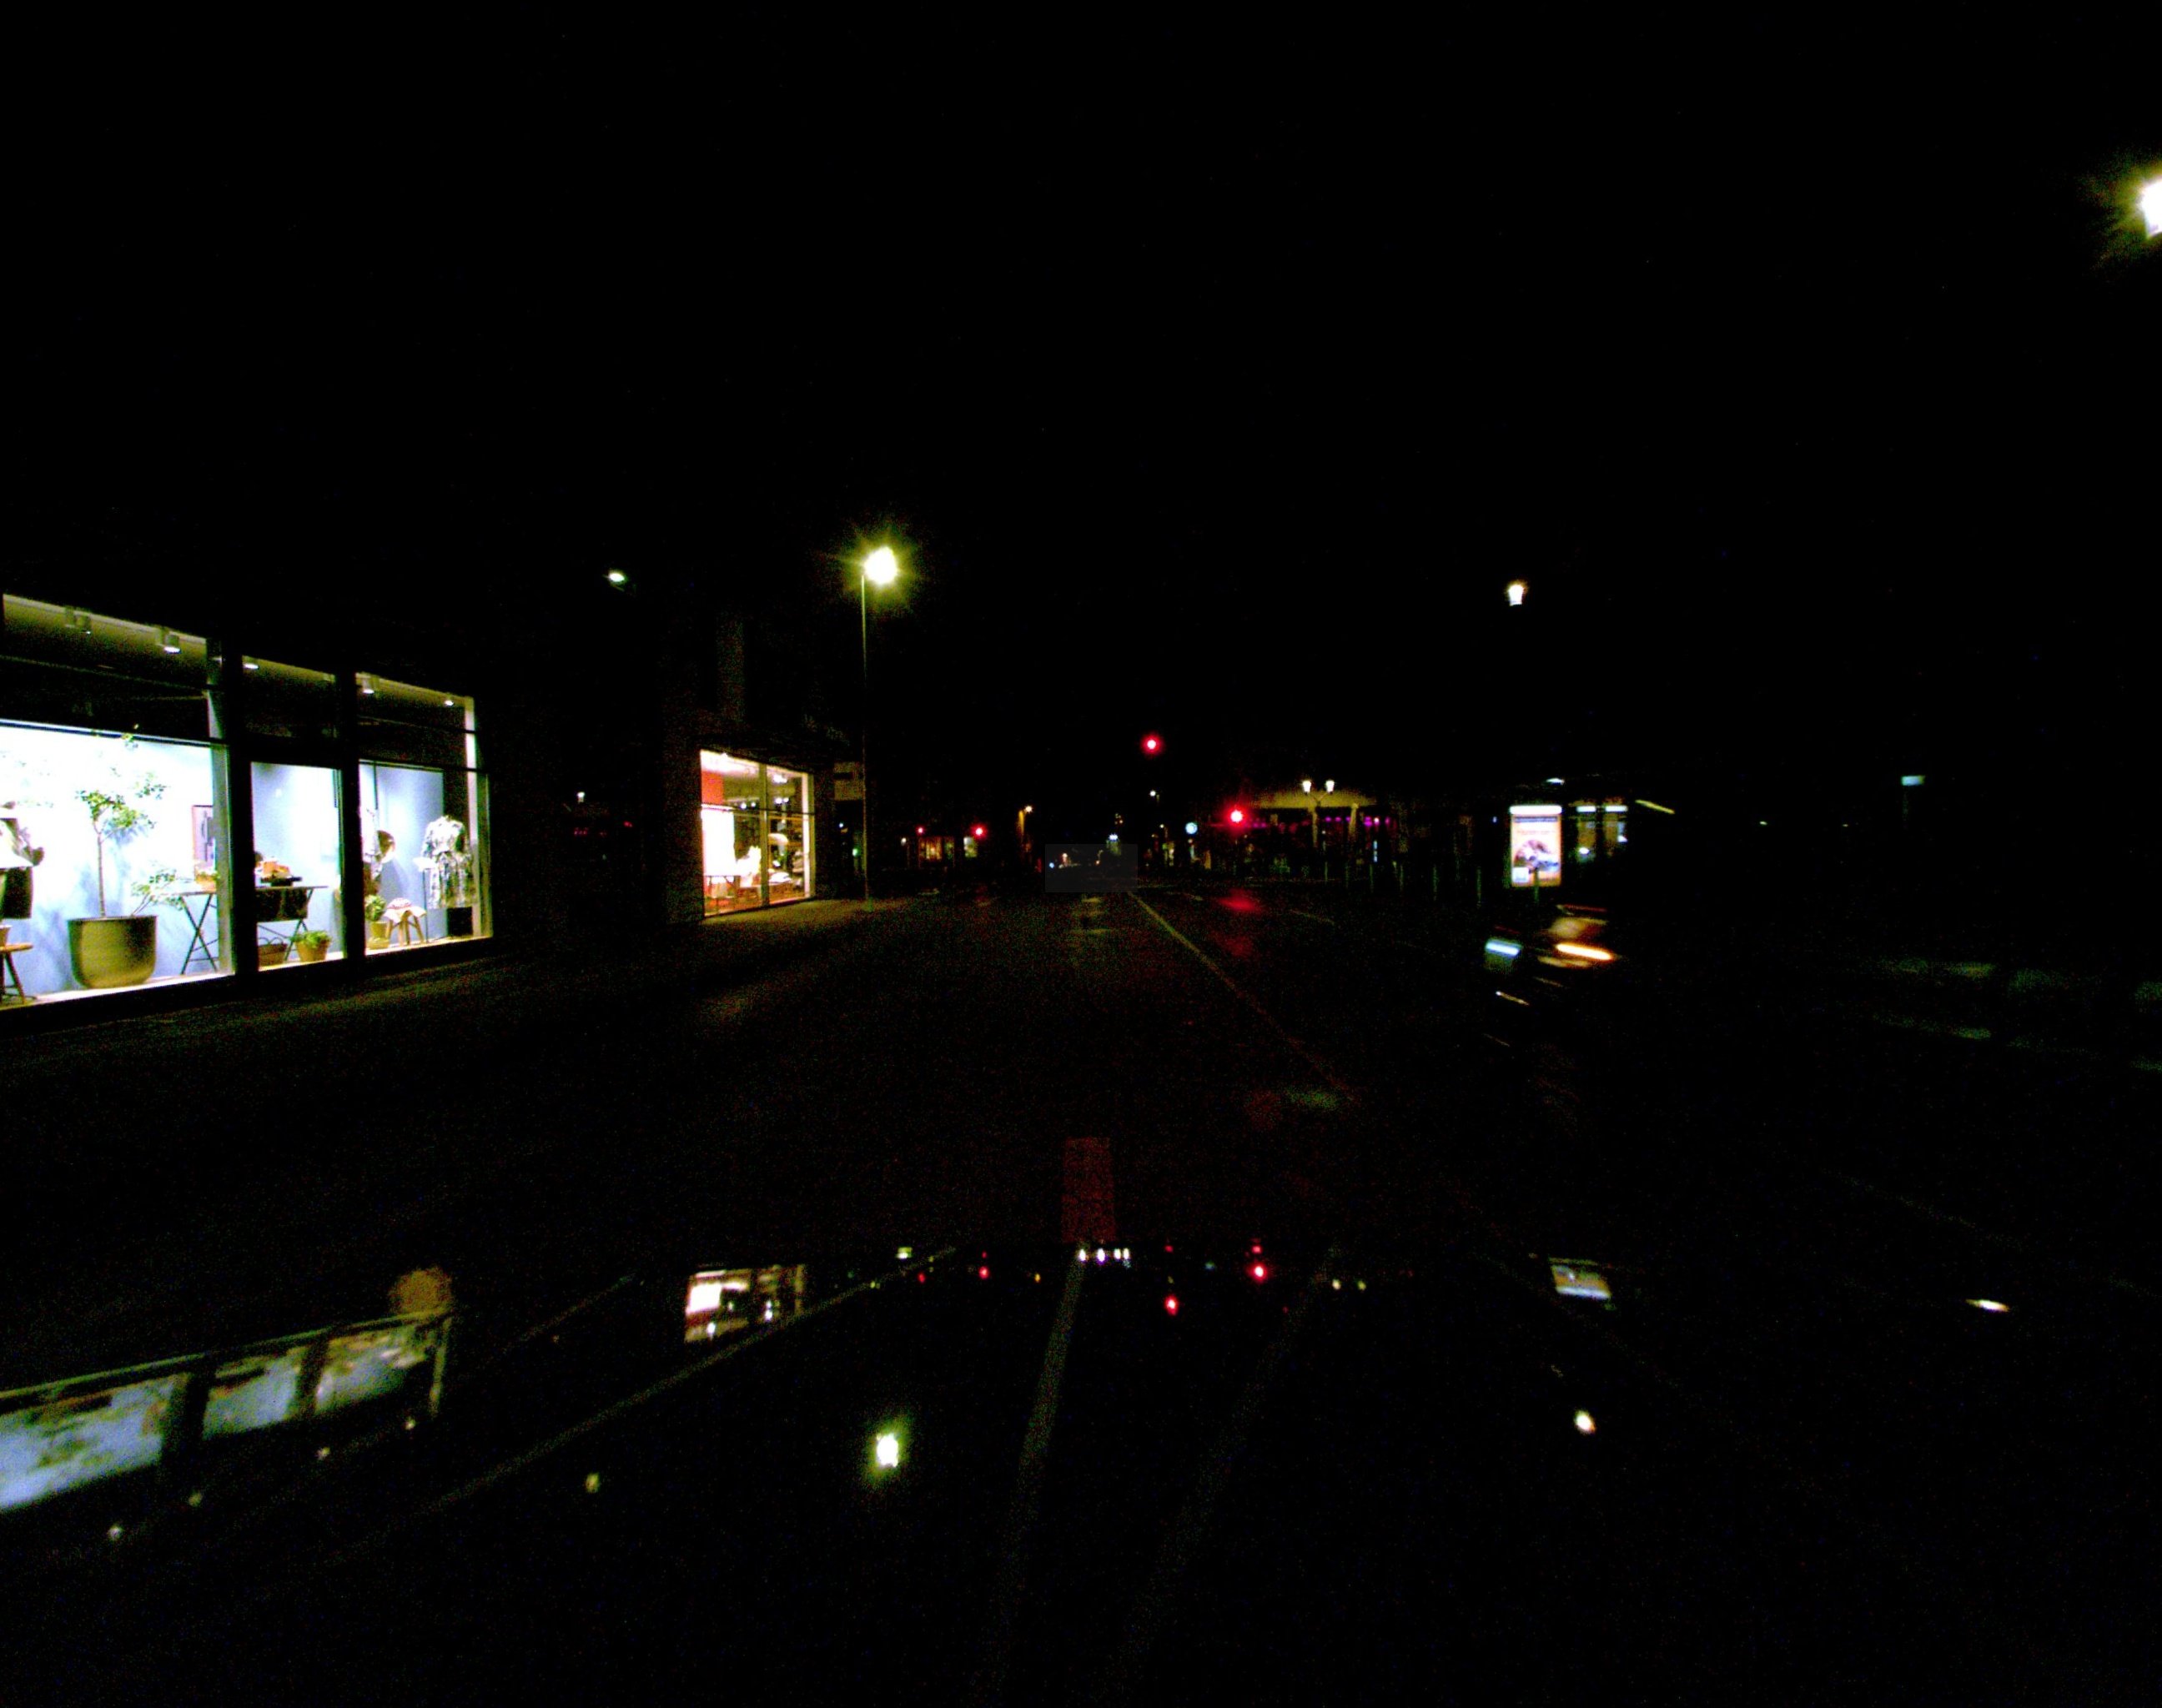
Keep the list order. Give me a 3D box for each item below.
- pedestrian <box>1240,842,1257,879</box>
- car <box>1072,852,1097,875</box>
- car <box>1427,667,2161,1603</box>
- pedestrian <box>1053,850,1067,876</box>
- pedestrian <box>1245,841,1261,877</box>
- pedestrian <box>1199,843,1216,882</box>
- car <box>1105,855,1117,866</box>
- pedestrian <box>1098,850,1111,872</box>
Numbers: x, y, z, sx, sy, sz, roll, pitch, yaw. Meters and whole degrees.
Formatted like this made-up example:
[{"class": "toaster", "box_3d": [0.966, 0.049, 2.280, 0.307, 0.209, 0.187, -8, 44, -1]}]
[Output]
[{"class": "pedestrian", "box_3d": [7.719, 0.288, 34.987, 0.582, 1.672, 0.648, -2, 1, 23]}, {"class": "car", "box_3d": [0.271, 0.700, 60.130, 1.713, 1.660, 3.738, -2, 1, 3]}, {"class": "car", "box_3d": [3.101, 0.544, 1.856, 1.972, 1.861, 4.909, -1, 1, -4]}, {"class": "pedestrian", "box_3d": [-1.373, 0.626, 50.756, 0.877, 1.723, 0.647, 0, 1, 4]}, {"class": "pedestrian", "box_3d": [8.042, 0.233, 35.598, 0.582, 1.619, 0.648, -2, 1, 23]}, {"class": "pedestrian", "box_3d": [5.549, 0.379, 33.371, 0.539, 1.672, 0.648, -2, 1, 23]}, {"class": "car", "box_3d": [4.988, 1.115, 126.053, 1.879, 1.718, 3.999, -2, 1, 1]}, {"class": "pedestrian", "box_3d": [1.659, 0.501, 53.323, 0.828, 1.487, 0.648, 0, 1, 7]}]
